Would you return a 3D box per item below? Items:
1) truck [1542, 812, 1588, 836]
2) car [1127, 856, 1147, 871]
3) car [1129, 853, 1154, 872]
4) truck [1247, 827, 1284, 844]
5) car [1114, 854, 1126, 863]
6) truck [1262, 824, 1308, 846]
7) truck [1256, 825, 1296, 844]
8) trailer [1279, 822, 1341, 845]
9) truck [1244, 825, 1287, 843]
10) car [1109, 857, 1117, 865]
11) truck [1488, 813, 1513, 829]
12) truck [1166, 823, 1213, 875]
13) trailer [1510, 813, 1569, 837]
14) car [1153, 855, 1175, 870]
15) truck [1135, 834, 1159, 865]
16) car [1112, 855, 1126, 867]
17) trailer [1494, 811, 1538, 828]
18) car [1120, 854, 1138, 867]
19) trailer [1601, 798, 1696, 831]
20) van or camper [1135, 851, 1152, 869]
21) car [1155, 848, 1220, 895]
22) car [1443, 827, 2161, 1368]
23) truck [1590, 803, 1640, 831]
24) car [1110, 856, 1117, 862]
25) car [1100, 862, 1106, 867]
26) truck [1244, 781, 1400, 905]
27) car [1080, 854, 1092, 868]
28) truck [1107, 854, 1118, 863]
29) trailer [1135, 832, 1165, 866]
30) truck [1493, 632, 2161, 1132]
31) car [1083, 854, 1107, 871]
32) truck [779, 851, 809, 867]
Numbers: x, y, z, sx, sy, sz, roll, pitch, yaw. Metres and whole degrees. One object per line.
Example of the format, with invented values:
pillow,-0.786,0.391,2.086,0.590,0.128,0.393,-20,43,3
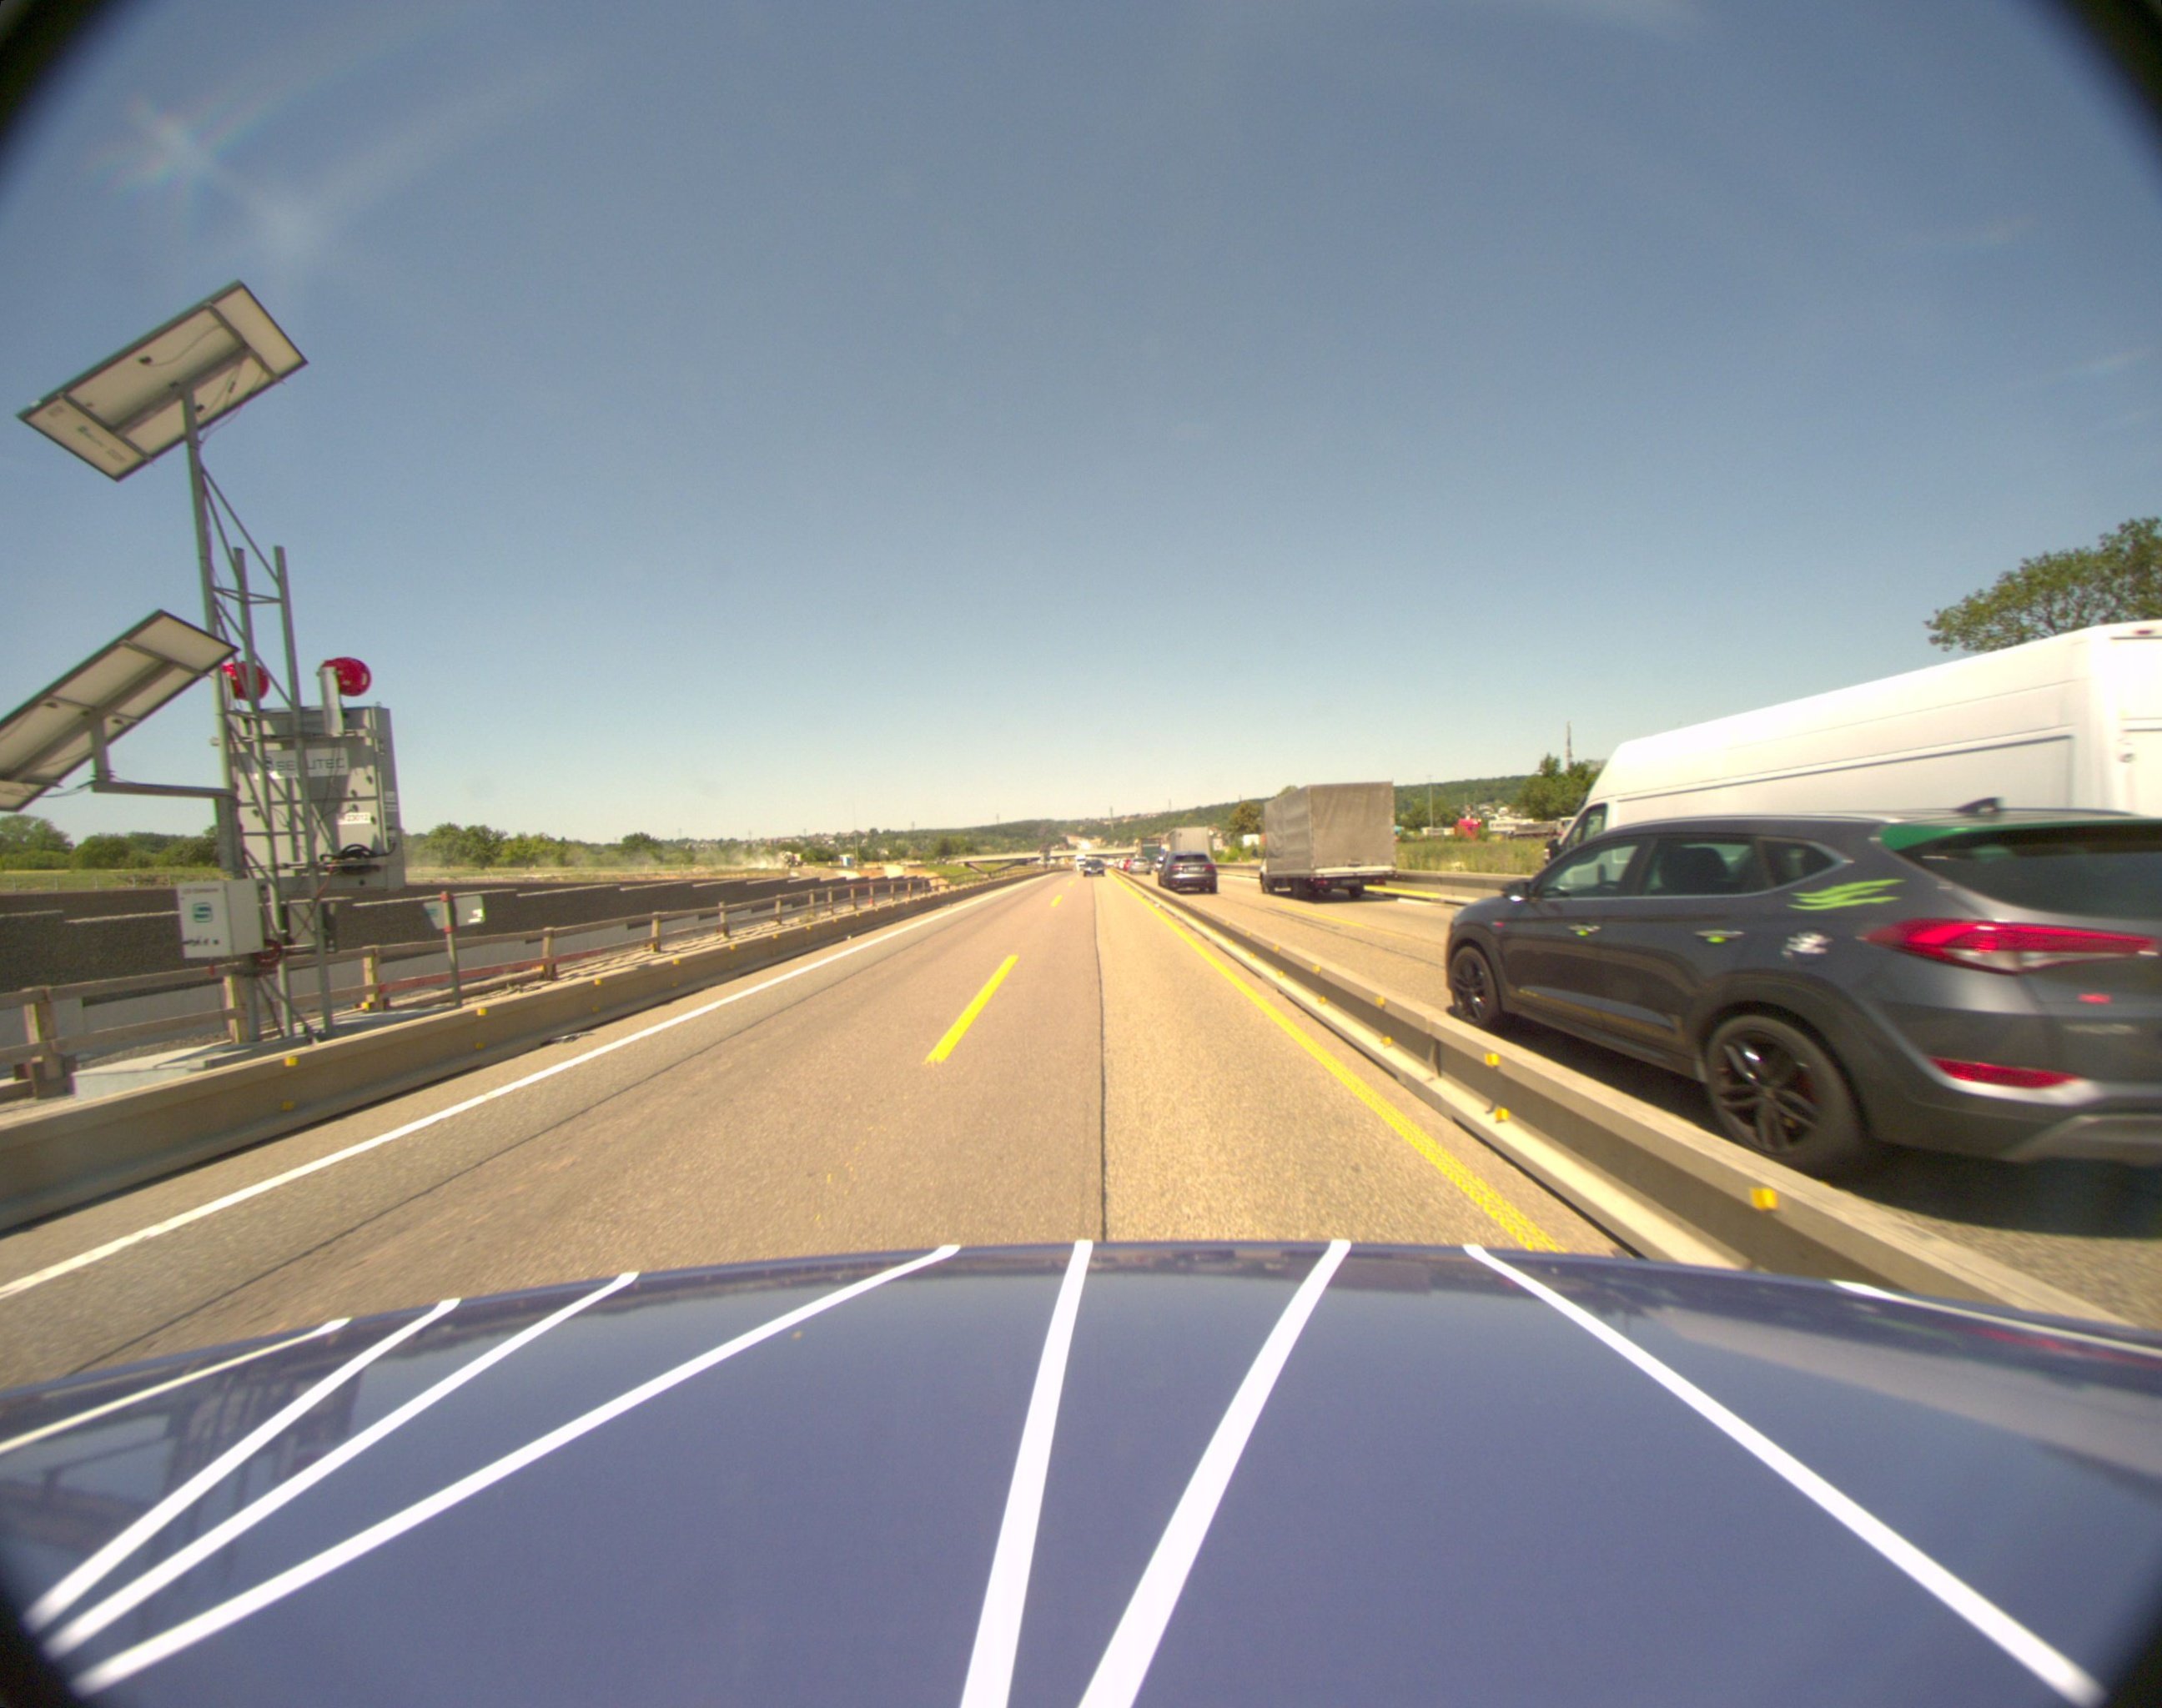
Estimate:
truck,63.848,-3.965,100.450,2.275,2.751,5.631,-4,0,-1
car,5.487,0.943,75.216,1.653,1.426,4.000,-2,0,0
car,4.926,0.697,62.719,1.686,1.420,4.202,-2,0,0
truck,48.879,-4.966,201.822,9.135,3.522,2.696,-6,0,44
car,5.832,0.635,114.568,1.714,1.344,3.890,-1,0,1
truck,49.127,-4.635,183.375,9.869,4.195,3.590,-6,0,44
truck,48.786,-4.906,189.983,9.253,3.653,2.867,-6,0,45
trailer,49.360,-4.359,164.337,2.625,3.762,12.722,-6,0,-45
truck,50.077,-5.531,206.778,11.491,3.653,2.535,-6,0,45
car,6.533,1.348,156.336,1.651,1.563,3.946,-1,0,3
truck,98.331,-7.736,178.235,2.901,3.338,4.907,-3,0,-1
truck,7.737,-0.364,54.855,2.395,3.365,7.715,-3,0,2
trailer,63.705,-3.952,105.943,2.260,2.751,9.395,-4,0,-1
car,8.221,0.831,75.402,1.627,1.439,3.785,-3,0,0
truck,9.437,-0.586,109.085,3.014,4.178,6.284,-2,0,2
car,5.198,0.963,105.394,1.770,1.465,4.228,-2,0,1
trailer,98.431,-7.743,172.315,2.951,3.360,11.705,-3,0,-1
car,5.757,0.762,91.777,1.901,1.484,4.759,-1,1,1
trailer,77.422,-5.289,104.191,3.029,3.601,13.434,-3,0,1
van or camper,10.696,1.021,130.574,2.442,2.900,7.825,-2,0,3
car,4.061,0.631,29.761,1.947,1.649,4.745,-1,0,1
car,3.968,0.717,4.291,1.943,1.601,4.000,-2,0,1
truck,77.626,-5.268,110.595,2.871,3.601,5.960,-3,0,1
car,7.950,1.286,187.199,1.651,1.359,3.945,-1,0,1
car,6.140,2.942,216.450,1.651,1.359,3.945,-1,0,1
truck,7.377,-0.328,24.547,2.501,3.273,8.116,-1,1,1
car,1.244,1.674,187.831,2.544,3.126,7.548,-3,0,2
truck,10.813,1.547,259.689,3.397,2.939,6.085,-3,0,3
trailer,9.219,-0.616,102.531,3.014,4.173,13.852,-2,0,2
truck,6.958,0.107,7.461,2.245,2.770,6.492,-2,0,0
car,1.156,0.648,60.900,1.810,1.299,4.000,-2,0,2
truck,-68.863,1.144,182.509,3.155,3.445,8.758,-3,0,3
